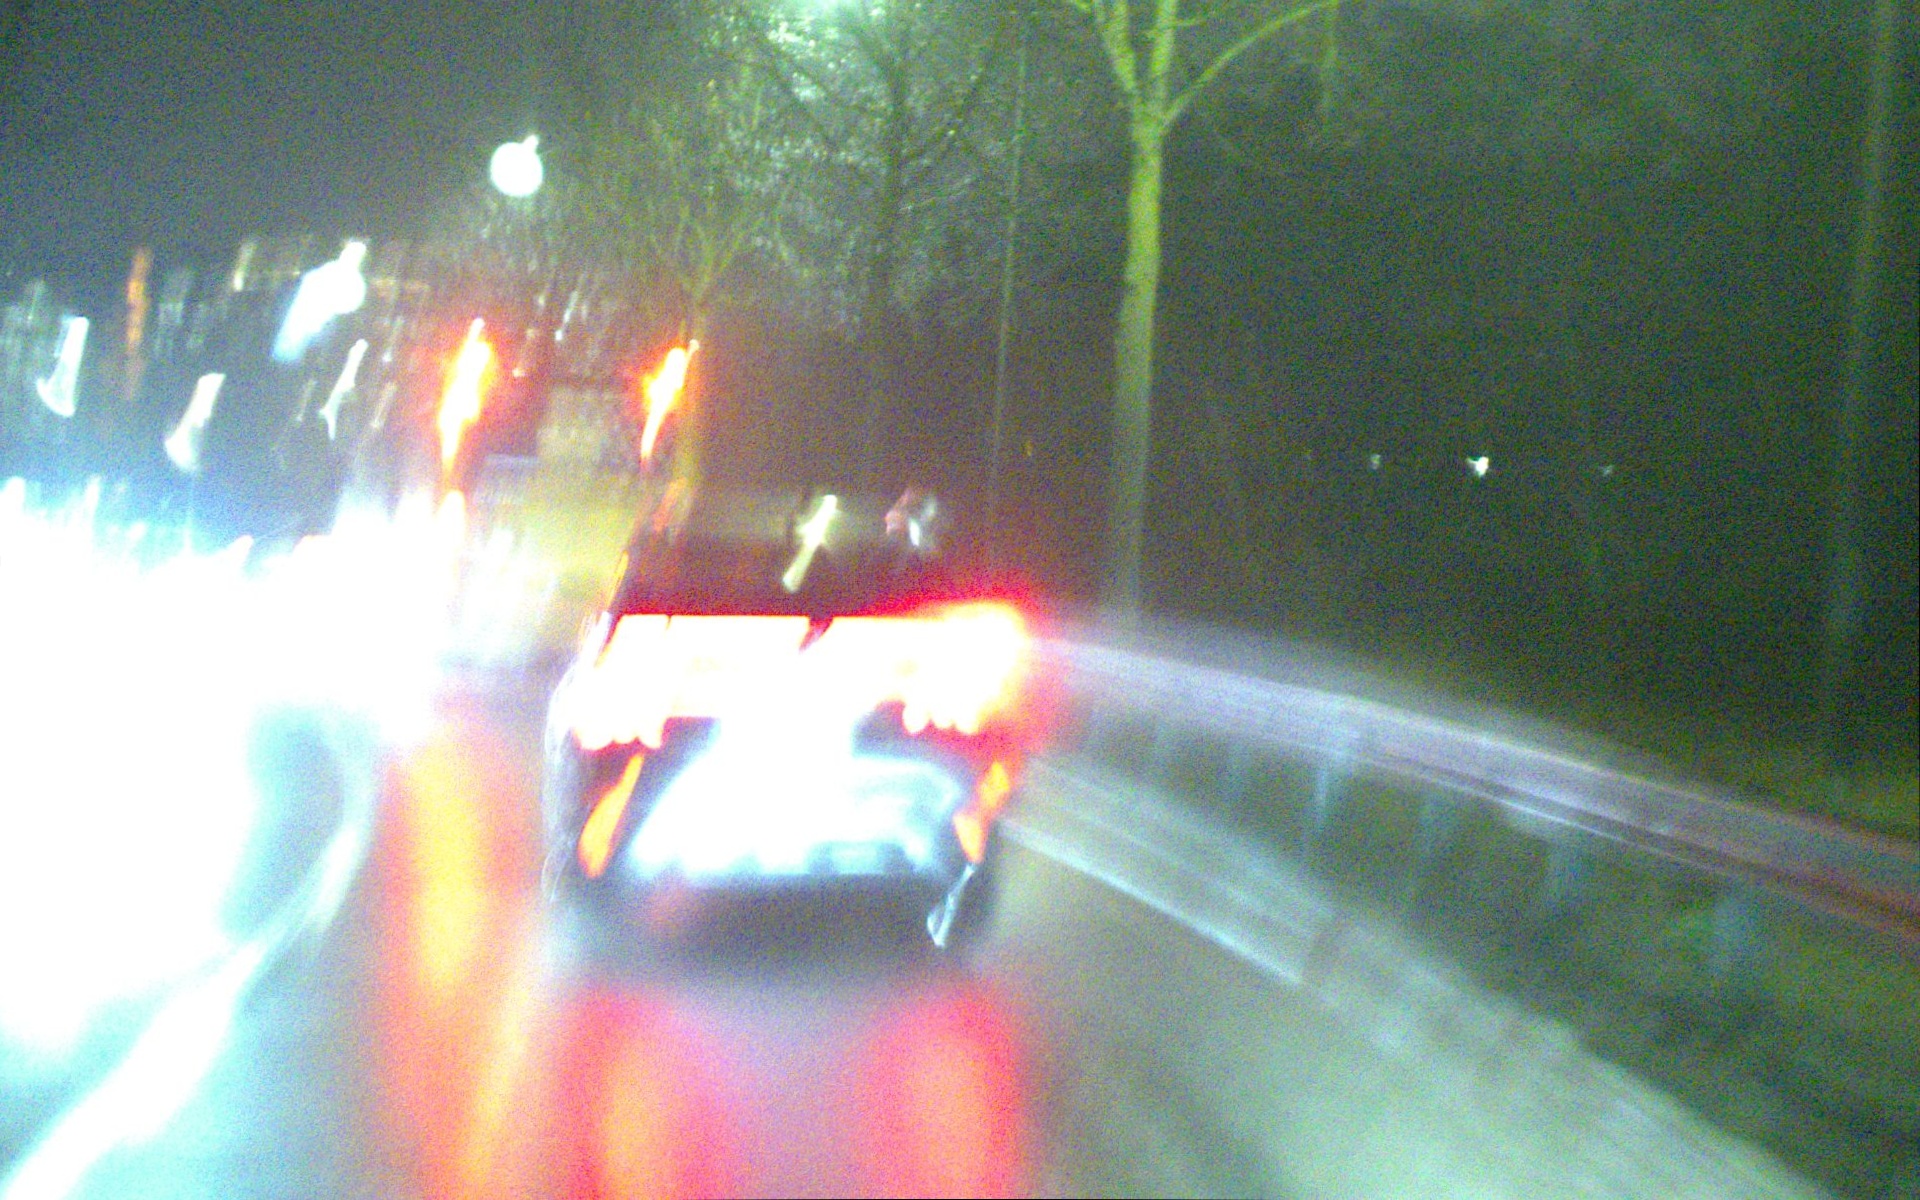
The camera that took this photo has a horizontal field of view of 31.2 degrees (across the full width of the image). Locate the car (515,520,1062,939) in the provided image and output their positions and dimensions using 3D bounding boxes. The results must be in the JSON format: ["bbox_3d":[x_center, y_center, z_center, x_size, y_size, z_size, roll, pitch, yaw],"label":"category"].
[{"bbox_3d":[-0.730,0.439,14.745,1.993,1.519,4.001,1,1,-3],"label":"car"}]

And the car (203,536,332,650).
[{"bbox_3d":[-15.626,-0.206,77.364,2.697,2.469,5.307,0,1,-13],"label":"car"}]

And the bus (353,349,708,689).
[{"bbox_3d":[-4.851,-0.838,37.085,3.042,3.201,9.053,0,1,-12],"label":"bus"}]

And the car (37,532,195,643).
[{"bbox_3d":[-11.252,-0.170,46.049,1.792,1.387,4.593,-1,0,-11],"label":"car"}]
